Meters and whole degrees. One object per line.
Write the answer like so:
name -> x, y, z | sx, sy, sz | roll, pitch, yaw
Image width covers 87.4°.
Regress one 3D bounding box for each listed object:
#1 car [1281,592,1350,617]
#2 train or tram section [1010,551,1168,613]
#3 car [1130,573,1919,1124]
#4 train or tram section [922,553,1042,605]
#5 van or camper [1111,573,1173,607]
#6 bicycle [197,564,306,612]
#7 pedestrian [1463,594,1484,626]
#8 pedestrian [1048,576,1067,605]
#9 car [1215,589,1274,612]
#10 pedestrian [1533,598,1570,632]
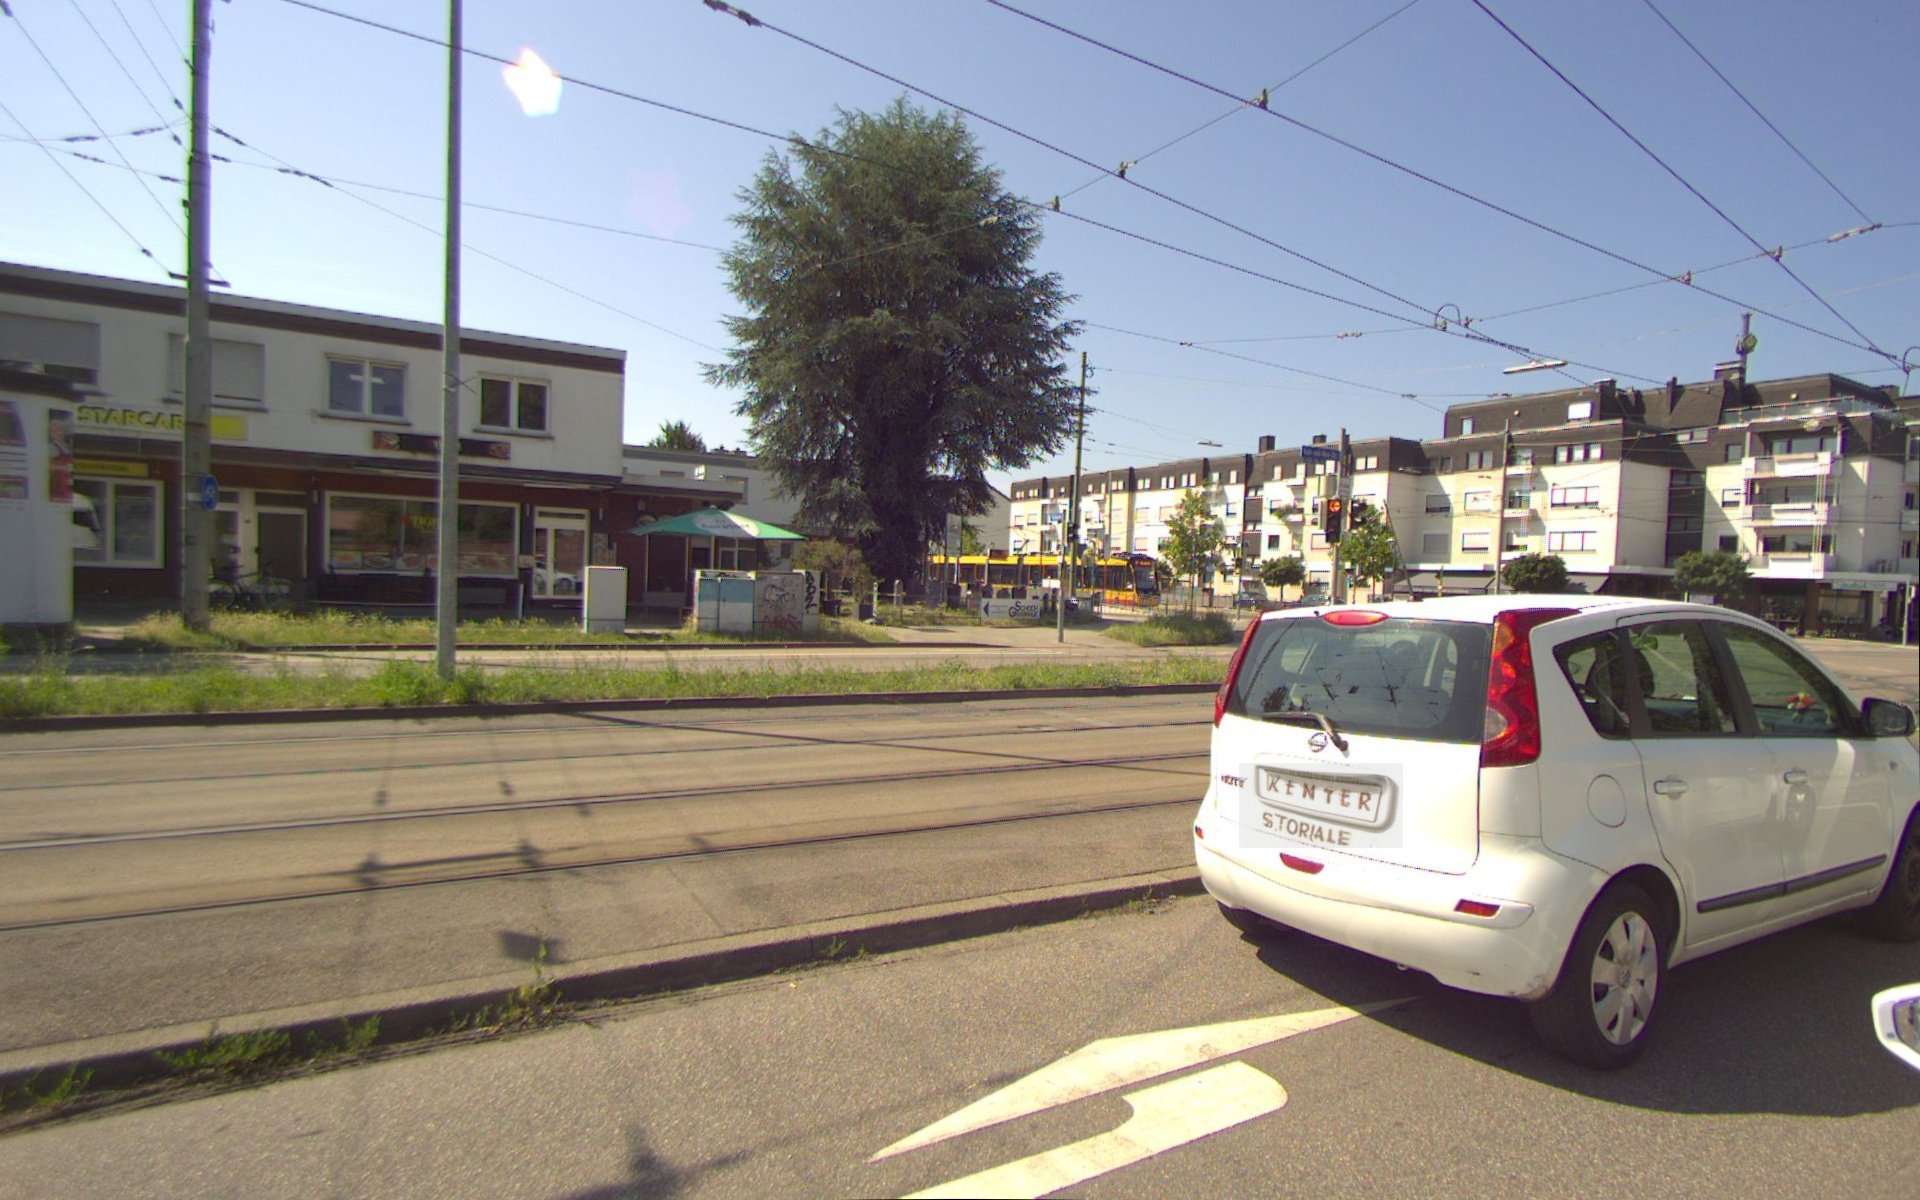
car -> 23.904, 0.287, 67.624 | 1.807, 1.520, 4.151 | 1, 1, -30
train or tram section -> 8.320, -1.315, 67.914 | 2.736, 3.707, 13.795 | 1, 1, -30
car -> 2.924, 0.747, 4.663 | 4.019, 1.582, 1.757 | 1, 0, -30
train or tram section -> 1.458, -1.737, 79.875 | 2.736, 3.707, 13.795 | 1, 1, -30
van or camper -> 14.956, -0.871, 82.854 | 2.349, 2.660, 4.850 | 1, 1, -31
bicycle -> -15.673, -0.262, 22.267 | 1.889, 0.996, 0.754 | 1, 1, -30
pedestrian -> 29.821, 0.574, 58.340 | 0.795, 1.783, 0.764 | 2, 1, 9
pedestrian -> 6.368, -0.601, 65.491 | 0.880, 1.862, 1.199 | 2, 1, -10
car -> 20.631, 0.019, 72.946 | 1.807, 1.520, 3.967 | 1, 1, -30
pedestrian -> 33.746, 0.828, 57.346 | 1.410, 1.861, 1.123 | 2, 1, 9
